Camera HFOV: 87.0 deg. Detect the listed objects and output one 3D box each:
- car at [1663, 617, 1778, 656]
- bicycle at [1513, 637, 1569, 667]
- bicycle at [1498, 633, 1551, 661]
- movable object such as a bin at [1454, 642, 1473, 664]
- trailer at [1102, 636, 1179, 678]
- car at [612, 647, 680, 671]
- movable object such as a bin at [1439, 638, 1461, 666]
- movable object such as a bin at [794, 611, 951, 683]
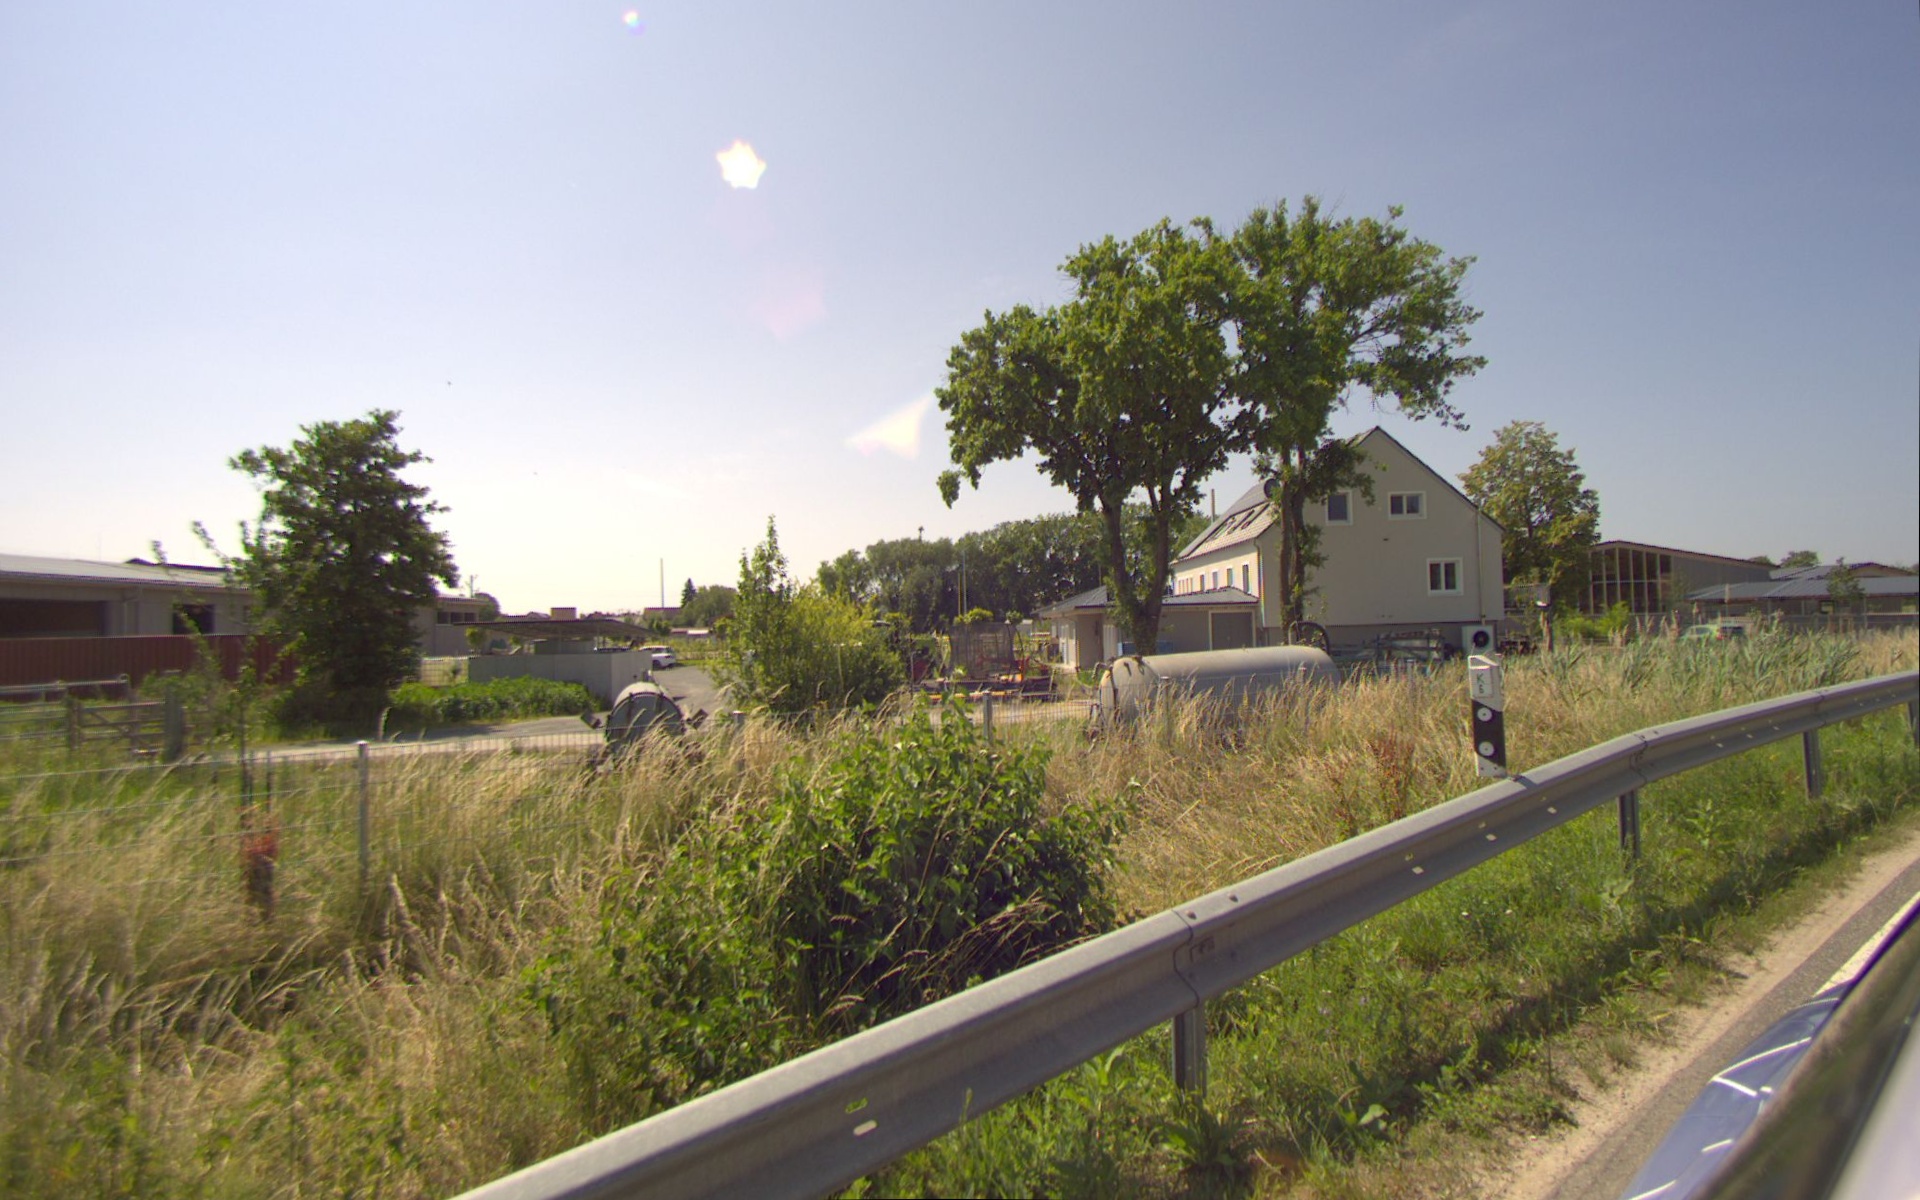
[{"bbox_3d":[34.615,1.702,46.230,1.898,1.601,4.369,-4,-3,2],"label":"car"},{"bbox_3d":[26.141,2.357,45.555,1.934,1.207,0.714,-4,-3,3],"label":"bicycle"},{"bbox_3d":[25.937,2.144,46.540,1.934,1.207,0.714,-2,-3,3],"label":"bicycle"},{"bbox_3d":[21.675,2.292,43.569,0.550,0.922,0.503,-2,-2,4],"label":"movable object such as a bin"},{"bbox_3d":[7.633,2.408,42.983,3.089,1.516,1.711,-4,-2,9],"label":"trailer"},{"bbox_3d":[-20.297,3.802,65.459,3.806,1.513,1.914,-1,-2,4],"label":"car"},{"bbox_3d":[21.060,2.215,43.486,0.649,1.165,0.577,-2,-2,4],"label":"movable object such as a bin"},{"bbox_3d":[-3.847,2.028,43.573,6.370,2.806,3.015,-1,-3,-11],"label":"movable object such as a bin"}]
